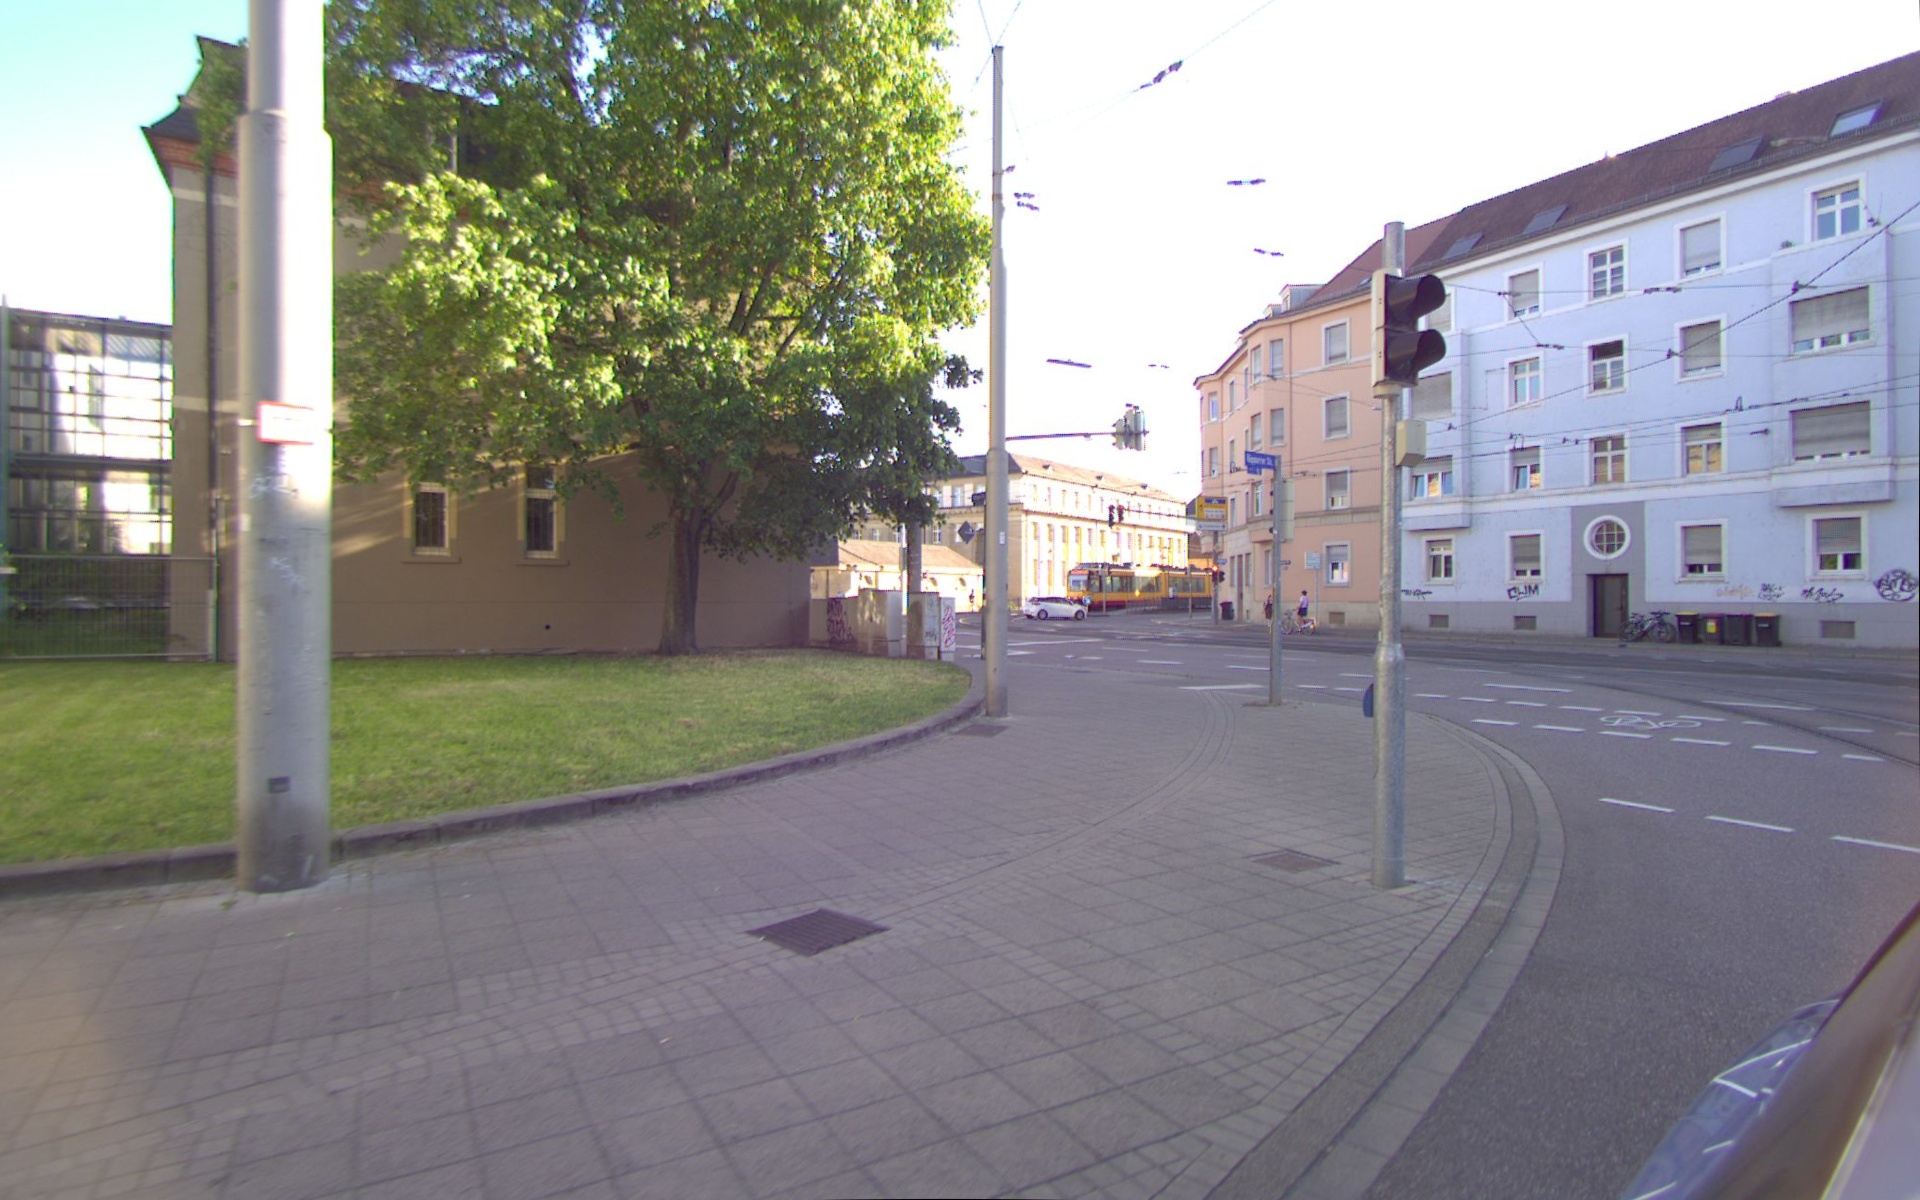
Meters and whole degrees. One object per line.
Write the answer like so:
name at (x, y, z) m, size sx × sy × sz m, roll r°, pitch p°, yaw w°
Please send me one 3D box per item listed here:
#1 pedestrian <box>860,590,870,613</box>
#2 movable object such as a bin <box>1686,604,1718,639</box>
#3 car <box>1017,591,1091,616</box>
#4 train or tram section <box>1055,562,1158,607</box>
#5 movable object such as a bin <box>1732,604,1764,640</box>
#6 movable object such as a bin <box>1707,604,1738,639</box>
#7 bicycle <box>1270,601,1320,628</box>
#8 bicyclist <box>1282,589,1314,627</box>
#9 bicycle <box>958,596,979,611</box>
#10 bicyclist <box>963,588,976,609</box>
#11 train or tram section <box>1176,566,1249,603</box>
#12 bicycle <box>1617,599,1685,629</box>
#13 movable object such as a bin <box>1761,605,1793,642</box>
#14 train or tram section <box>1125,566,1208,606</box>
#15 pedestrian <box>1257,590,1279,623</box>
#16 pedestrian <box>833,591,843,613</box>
pedestrian at (-7.206, 0.112, 76.677) m, size 0.615 × 1.661 × 0.487 m, roll -1°, pitch 0°, yaw 11°
movable object such as a bin at (24.712, 0.709, 33.707) m, size 0.690 × 1.120 × 0.649 m, roll -1°, pitch 0°, yaw -32°
car at (5.645, 0.217, 60.519) m, size 4.019 × 1.411 × 1.796 m, roll -1°, pitch 0°, yaw -21°
train or tram section at (12.091, -1.223, 82.125) m, size 3.149 × 3.363 × 11.662 m, roll -1°, pitch 0°, yaw 37°
movable object such as a bin at (25.382, 0.711, 32.593) m, size 0.690 × 1.120 × 0.583 m, roll -1°, pitch 0°, yaw -32°
movable object such as a bin at (25.023, 0.707, 33.205) m, size 0.690 × 1.120 × 0.583 m, roll -1°, pitch 0°, yaw -32°
bicycle at (14.990, 0.636, 45.284) m, size 0.734 × 1.206 × 2.154 m, roll 0°, pitch 0°, yaw -31°
bicyclist at (15.073, 0.353, 45.140) m, size 0.734 × 1.664 × 1.126 m, roll 0°, pitch 0°, yaw -31°
bicycle at (0.665, 0.286, 80.356) m, size 0.680 × 1.150 × 2.051 m, roll -1°, pitch 1°, yaw 31°
bicyclist at (0.755, -0.140, 80.509) m, size 0.672 × 1.660 × 0.929 m, roll -1°, pitch 1°, yaw 32°
train or tram section at (24.988, -1.617, 99.635) m, size 3.147 × 3.398 × 10.709 m, roll -1°, pitch 1°, yaw 37°
bicycle at (23.918, 0.480, 35.054) m, size 0.595 × 0.992 × 1.878 m, roll -2°, pitch 1°, yaw -32°
movable object such as a bin at (25.767, 0.729, 31.933) m, size 0.690 × 1.120 × 0.583 m, roll -1°, pitch 0°, yaw -32°
train or tram section at (18.719, -1.323, 91.098) m, size 3.147 × 3.398 × 10.542 m, roll -1°, pitch 1°, yaw 37°
pedestrian at (14.911, 0.316, 49.024) m, size 0.664 × 1.583 × 0.721 m, roll 0°, pitch 0°, yaw -30°
pedestrian at (-9.402, 0.136, 77.834) m, size 0.615 × 1.661 × 0.513 m, roll -1°, pitch 0°, yaw 11°
